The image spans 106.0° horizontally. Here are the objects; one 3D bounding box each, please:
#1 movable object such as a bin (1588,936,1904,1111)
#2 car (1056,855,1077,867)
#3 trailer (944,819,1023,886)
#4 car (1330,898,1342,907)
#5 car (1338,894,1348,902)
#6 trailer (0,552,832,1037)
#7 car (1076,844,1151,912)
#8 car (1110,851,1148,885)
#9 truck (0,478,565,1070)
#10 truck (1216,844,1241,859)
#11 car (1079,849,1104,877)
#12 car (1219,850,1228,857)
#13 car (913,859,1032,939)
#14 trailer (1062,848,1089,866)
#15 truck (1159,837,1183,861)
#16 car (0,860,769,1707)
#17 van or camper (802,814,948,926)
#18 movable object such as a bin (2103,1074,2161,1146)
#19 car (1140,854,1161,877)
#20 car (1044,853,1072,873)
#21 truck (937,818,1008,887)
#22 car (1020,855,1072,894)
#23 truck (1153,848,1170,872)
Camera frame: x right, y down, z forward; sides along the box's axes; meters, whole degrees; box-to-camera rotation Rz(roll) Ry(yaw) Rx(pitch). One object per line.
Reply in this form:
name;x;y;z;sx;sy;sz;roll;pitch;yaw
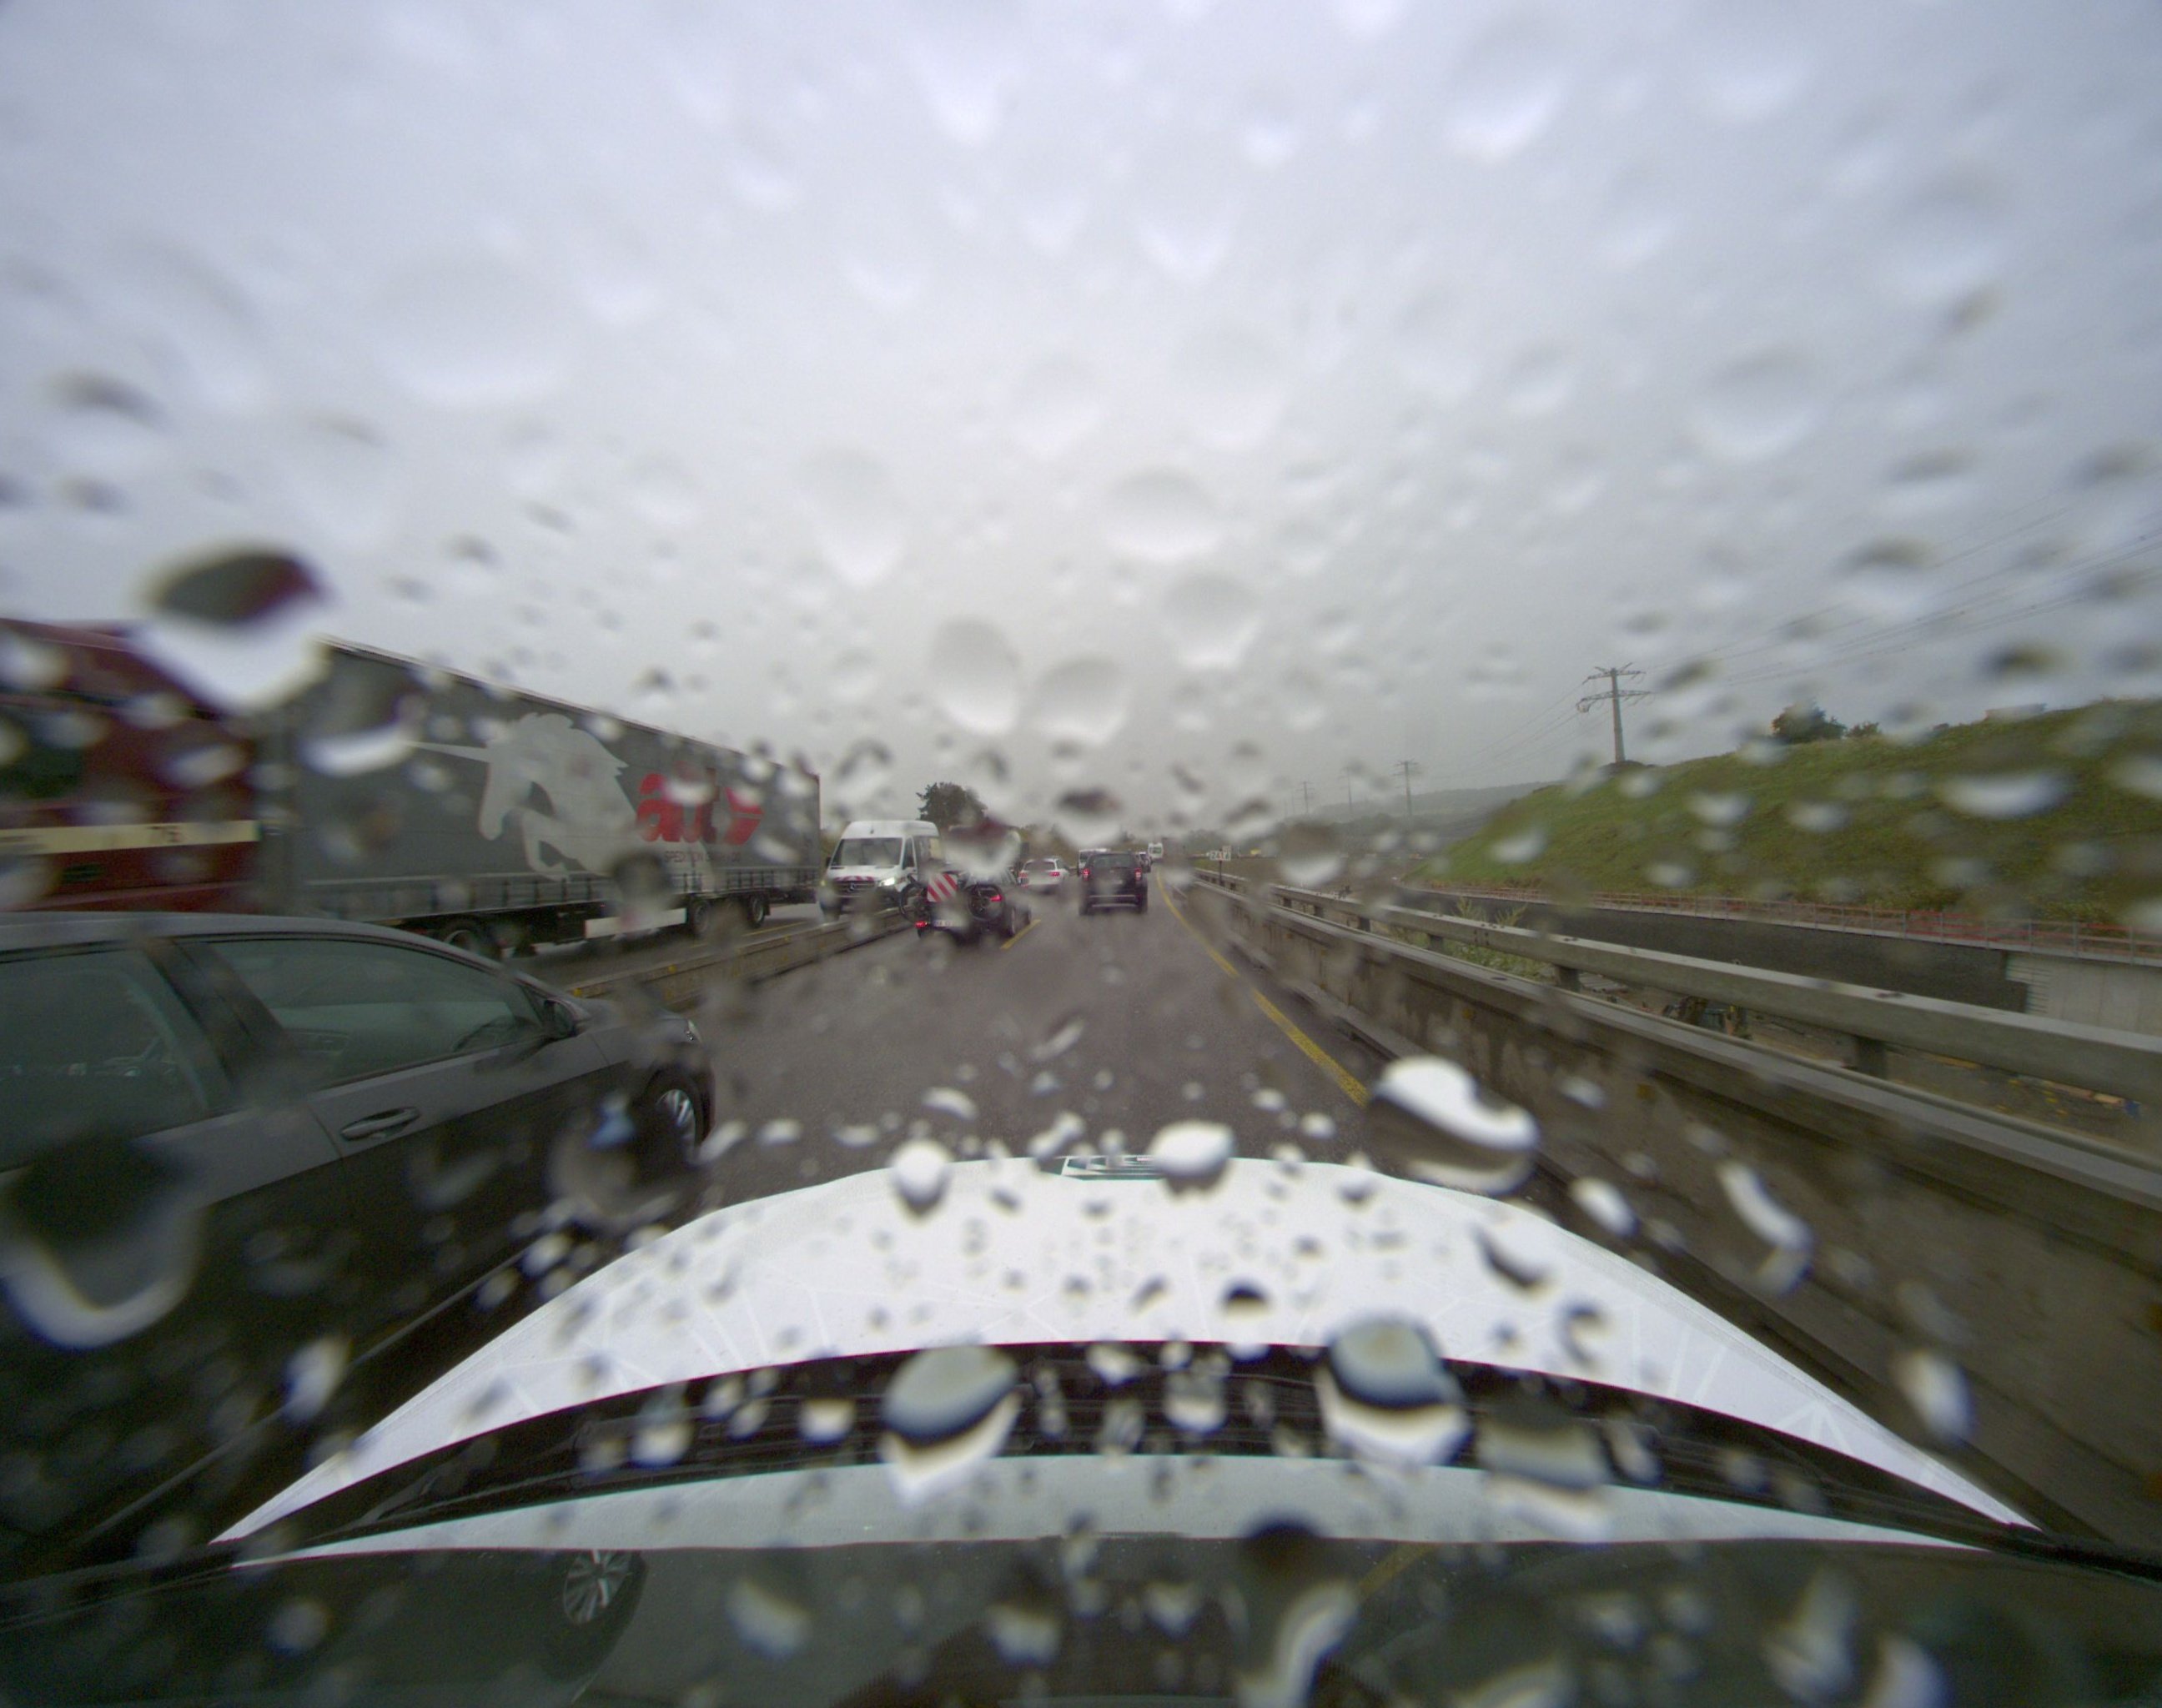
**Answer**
movable object such as a bin;28.374;6.874;36.252;4.870;5.671;12.105;0;-3;5
car;-1.974;0.936;111.493;1.981;1.586;5.133;-1;0;10
trailer;-6.358;-0.064;55.517;3.242;3.964;11.546;-2;0;3
car;61.648;11.715;196.696;2.350;2.013;4.012;-1;0;11
car;68.495;11.411;213.047;1.979;1.816;4.014;-2;-1;13
trailer;-9.082;-0.588;15.503;2.983;4.420;15.713;-3;0;3
car;0.921;0.612;22.054;1.796;1.646;3.780;-2;-1;4
car;2.495;0.703;42.902;1.860;1.708;4.002;-1;0;2
truck;-9.383;-0.553;8.641;2.968;4.408;6.935;-3;0;2
truck;44.199;-0.727;243.435;4.678;4.150;15.759;-1;0;19
car;0.768;0.642;57.869;1.653;1.880;4.022;-1;0;2
car;36.956;-0.089;211.223;1.762;1.916;4.016;-1;0;15
car;-2.204;0.878;17.539;1.821;1.476;3.779;-2;-1;3
trailer;-0.703;0.424;117.538;2.494;2.564;7.183;-1;0;10
truck;14.869;-0.770;134.391;3.180;3.761;8.534;-1;0;10
car;-2.547;0.813;2.149;1.608;1.506;4.369;-3;-1;1
van or camper;-5.360;0.384;22.216;2.270;2.614;5.831;-1;0;2
movable object such as a bin;35.464;8.303;25.645;2.508;1.911;3.256;0;-1;-1
car;5.338;0.854;62.522;1.523;1.640;4.018;-1;0;5
car;-1.780;0.716;64.241;1.796;1.439;4.953;-3;0;2
truck;-6.621;-0.075;50.701;3.218;3.955;5.885;-2;-1;2
car;-1.393;0.802;33.672;1.861;1.460;4.549;-1;0;1
truck;10.589;0.784;107.894;2.139;3.166;6.468;-1;0;5
